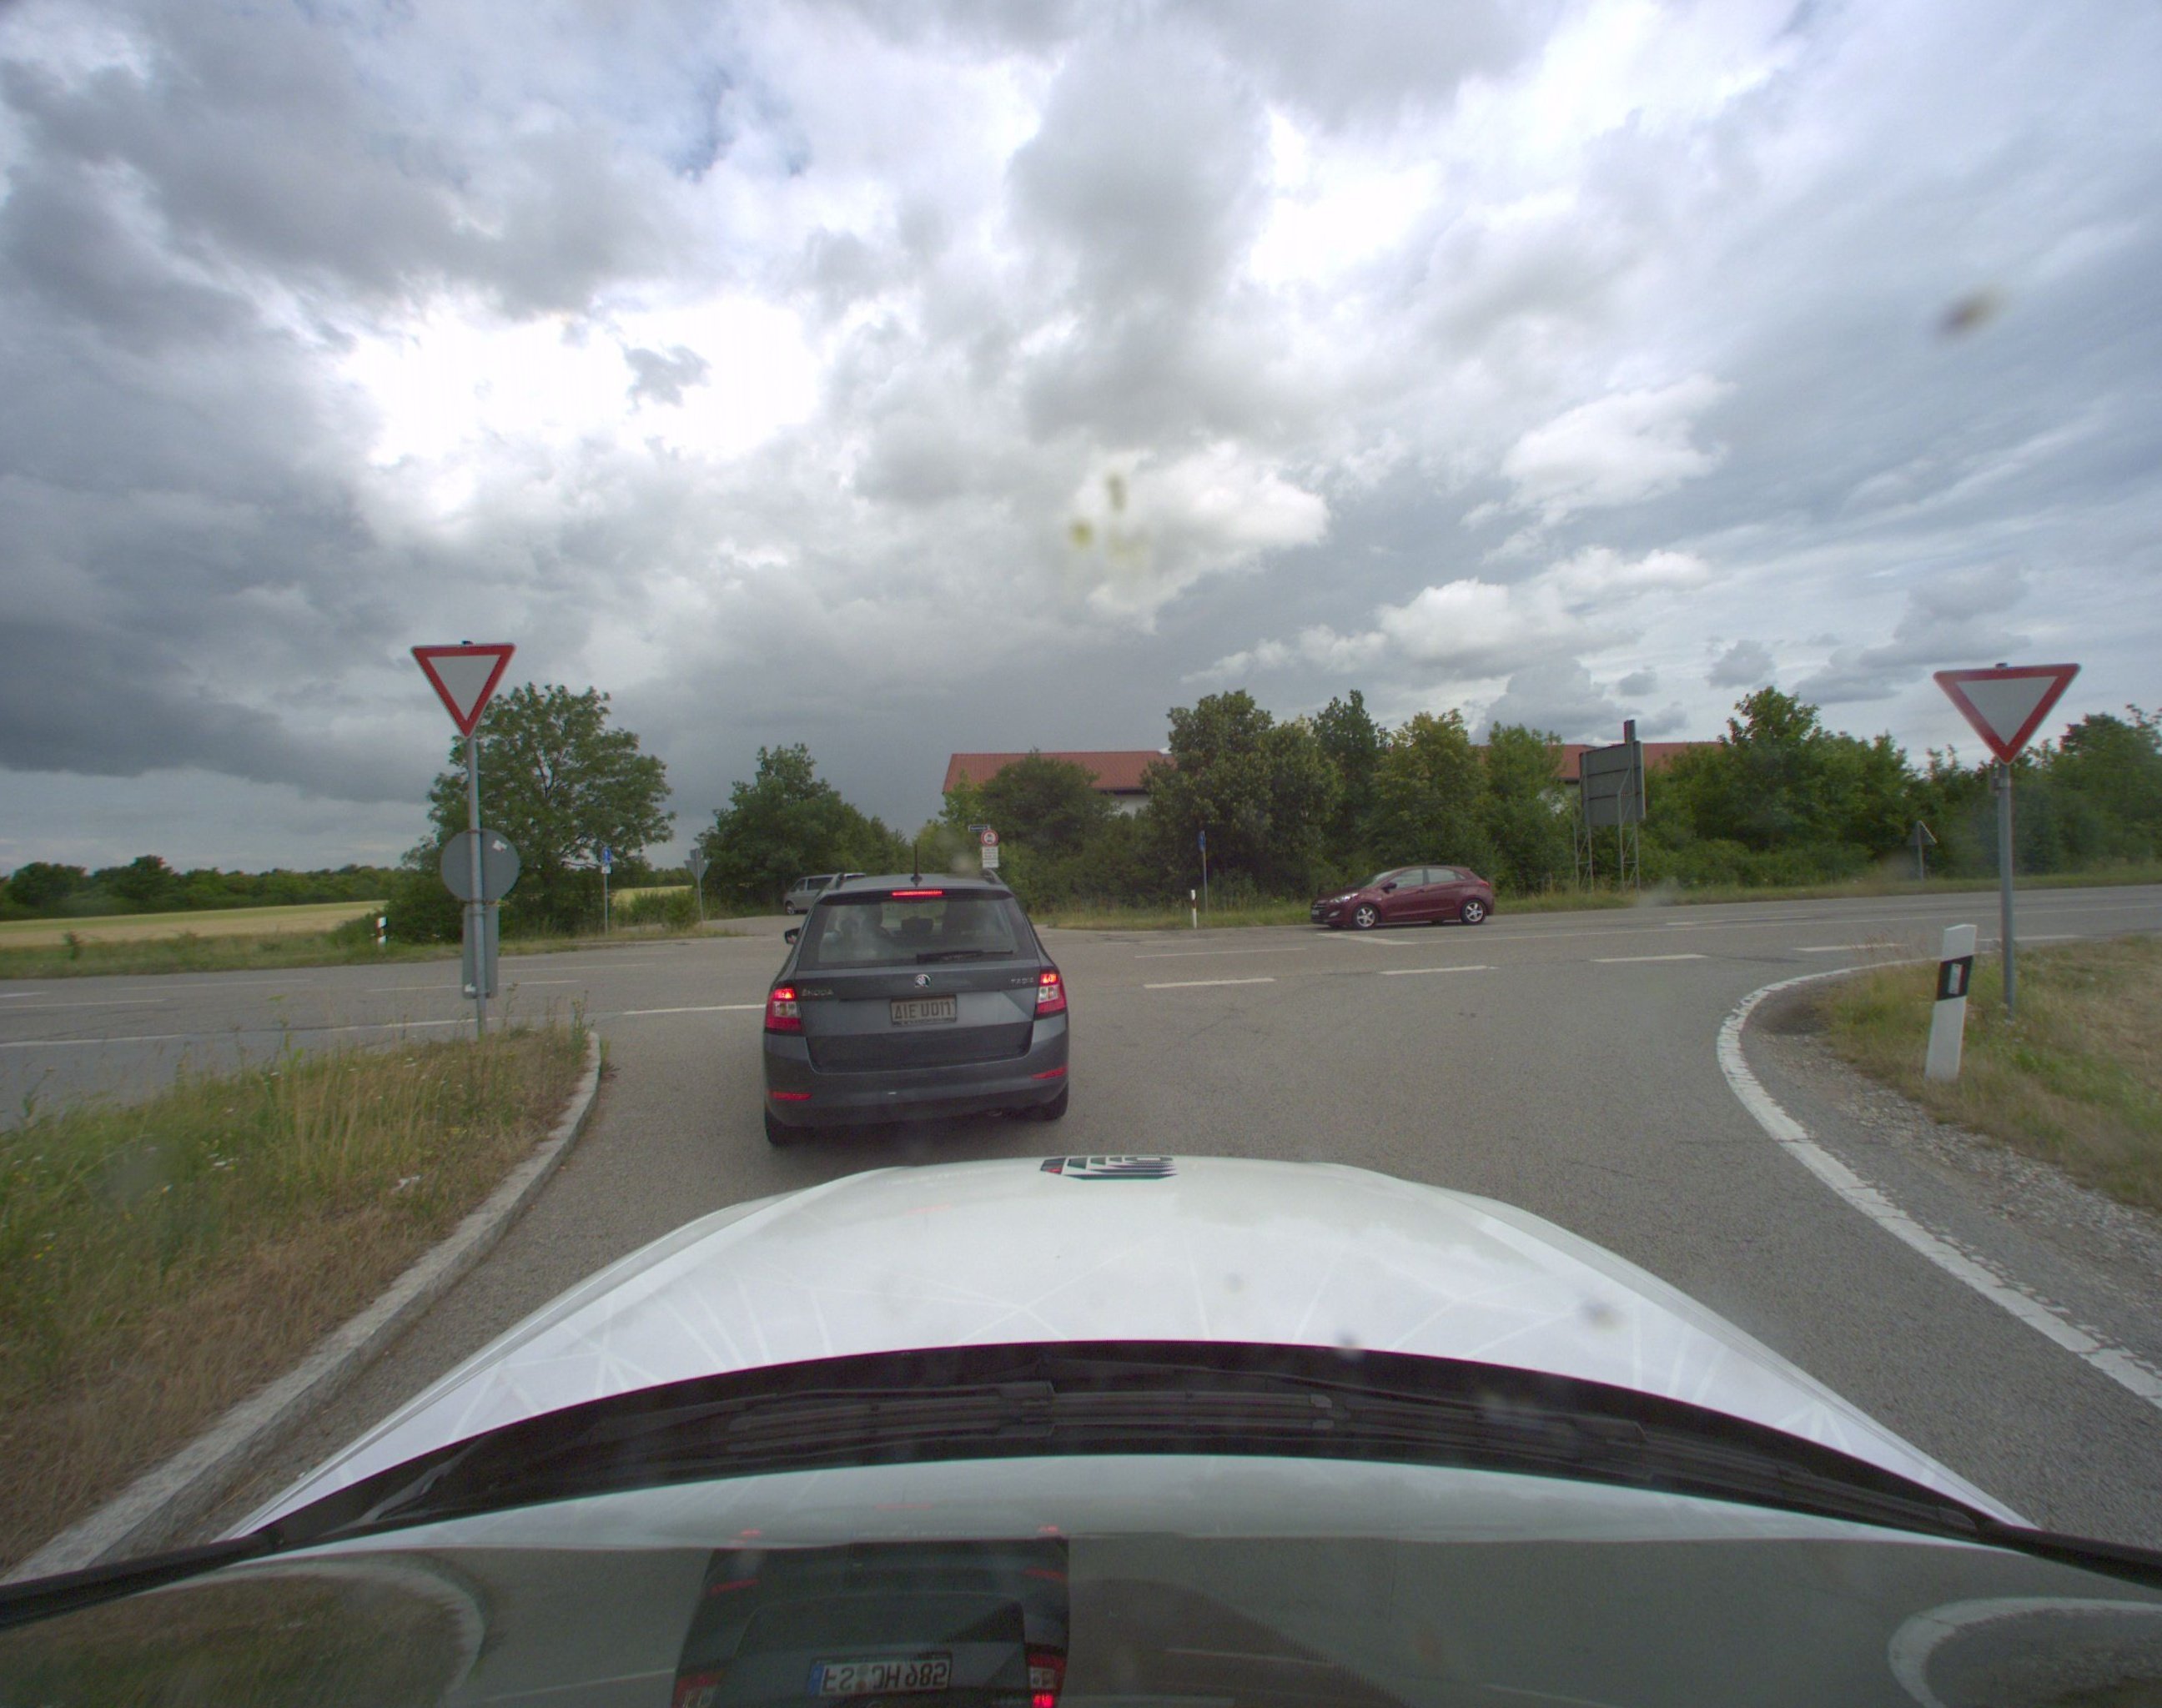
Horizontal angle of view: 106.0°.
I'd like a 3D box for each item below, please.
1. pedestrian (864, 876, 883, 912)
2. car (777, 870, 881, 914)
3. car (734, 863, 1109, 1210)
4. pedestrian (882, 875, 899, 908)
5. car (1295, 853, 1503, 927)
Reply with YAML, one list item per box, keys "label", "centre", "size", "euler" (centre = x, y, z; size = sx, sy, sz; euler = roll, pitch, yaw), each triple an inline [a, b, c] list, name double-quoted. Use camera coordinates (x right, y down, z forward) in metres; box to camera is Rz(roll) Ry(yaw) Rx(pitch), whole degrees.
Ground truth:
- label: "pedestrian"
  centre: [-10.373, 2.000, 40.741]
  size: [0.523, 1.725, 0.646]
  euler: [-3, 0, 32]
- label: "car"
  centre: [-12.750, 1.935, 41.165]
  size: [4.851, 2.013, 2.357]
  euler: [-3, 0, 33]
- label: "car"
  centre: [-1.157, 0.824, 5.573]
  size: [1.679, 1.462, 3.688]
  euler: [-2, 0, -15]
- label: "pedestrian"
  centre: [-9.927, 1.940, 42.390]
  size: [0.578, 1.682, 0.569]
  euler: [-3, 0, 20]
- label: "car"
  centre: [7.495, 0.828, 19.428]
  size: [4.145, 1.464, 1.994]
  euler: [-3, -1, -8]
